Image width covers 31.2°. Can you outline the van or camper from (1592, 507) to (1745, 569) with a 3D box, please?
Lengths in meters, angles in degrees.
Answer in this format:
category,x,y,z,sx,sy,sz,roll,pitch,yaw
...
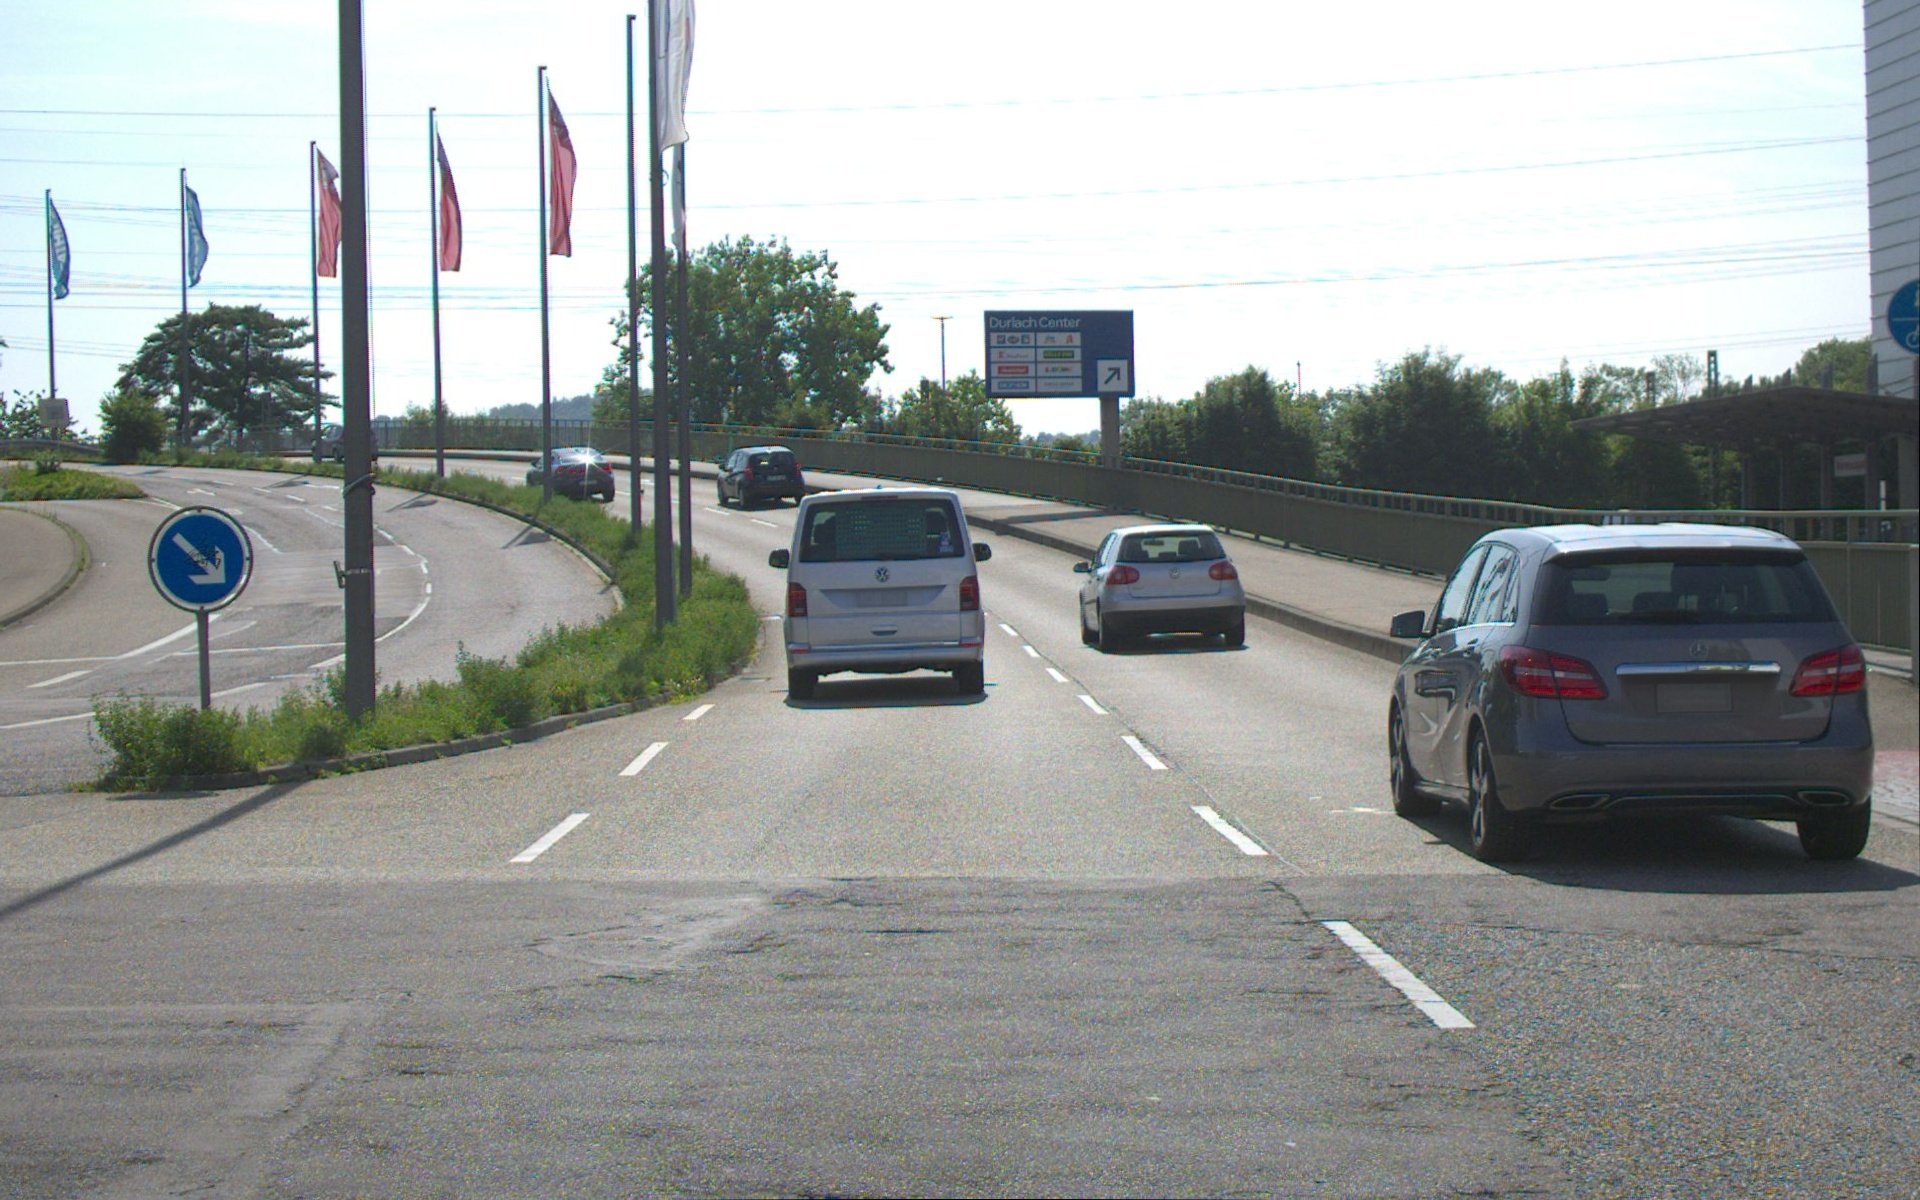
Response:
category,x,y,z,sx,sy,sz,roll,pitch,yaw
van or camper,26.930,-2.332,130.654,5.418,2.171,2.106,1,0,-22

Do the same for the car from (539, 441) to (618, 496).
category,x,y,z,sx,sy,sz,roll,pitch,yaw
car,-10.795,-3.714,97.226,1.530,1.475,3.248,0,1,-19

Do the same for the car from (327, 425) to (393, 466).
category,x,y,z,sx,sy,sz,roll,pitch,yaw
car,-23.275,-5.966,133.212,1.531,1.475,3.426,0,1,-28

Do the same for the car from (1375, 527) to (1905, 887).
category,x,y,z,sx,sy,sz,roll,pitch,yaw
car,3.193,0.421,16.945,1.773,1.533,4.138,0,1,0

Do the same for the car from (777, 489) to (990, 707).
category,x,y,z,sx,sy,sz,roll,pitch,yaw
car,-0.680,-0.076,33.323,1.917,1.968,4.297,-1,2,0

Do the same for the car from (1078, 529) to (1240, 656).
category,x,y,z,sx,sy,sz,roll,pitch,yaw
car,2.395,-0.121,42.131,1.667,1.409,3.683,-2,2,-1

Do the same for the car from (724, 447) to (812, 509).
category,x,y,z,sx,sy,sz,roll,pitch,yaw
car,-5.085,-3.215,90.546,1.530,1.474,3.598,0,4,-16
